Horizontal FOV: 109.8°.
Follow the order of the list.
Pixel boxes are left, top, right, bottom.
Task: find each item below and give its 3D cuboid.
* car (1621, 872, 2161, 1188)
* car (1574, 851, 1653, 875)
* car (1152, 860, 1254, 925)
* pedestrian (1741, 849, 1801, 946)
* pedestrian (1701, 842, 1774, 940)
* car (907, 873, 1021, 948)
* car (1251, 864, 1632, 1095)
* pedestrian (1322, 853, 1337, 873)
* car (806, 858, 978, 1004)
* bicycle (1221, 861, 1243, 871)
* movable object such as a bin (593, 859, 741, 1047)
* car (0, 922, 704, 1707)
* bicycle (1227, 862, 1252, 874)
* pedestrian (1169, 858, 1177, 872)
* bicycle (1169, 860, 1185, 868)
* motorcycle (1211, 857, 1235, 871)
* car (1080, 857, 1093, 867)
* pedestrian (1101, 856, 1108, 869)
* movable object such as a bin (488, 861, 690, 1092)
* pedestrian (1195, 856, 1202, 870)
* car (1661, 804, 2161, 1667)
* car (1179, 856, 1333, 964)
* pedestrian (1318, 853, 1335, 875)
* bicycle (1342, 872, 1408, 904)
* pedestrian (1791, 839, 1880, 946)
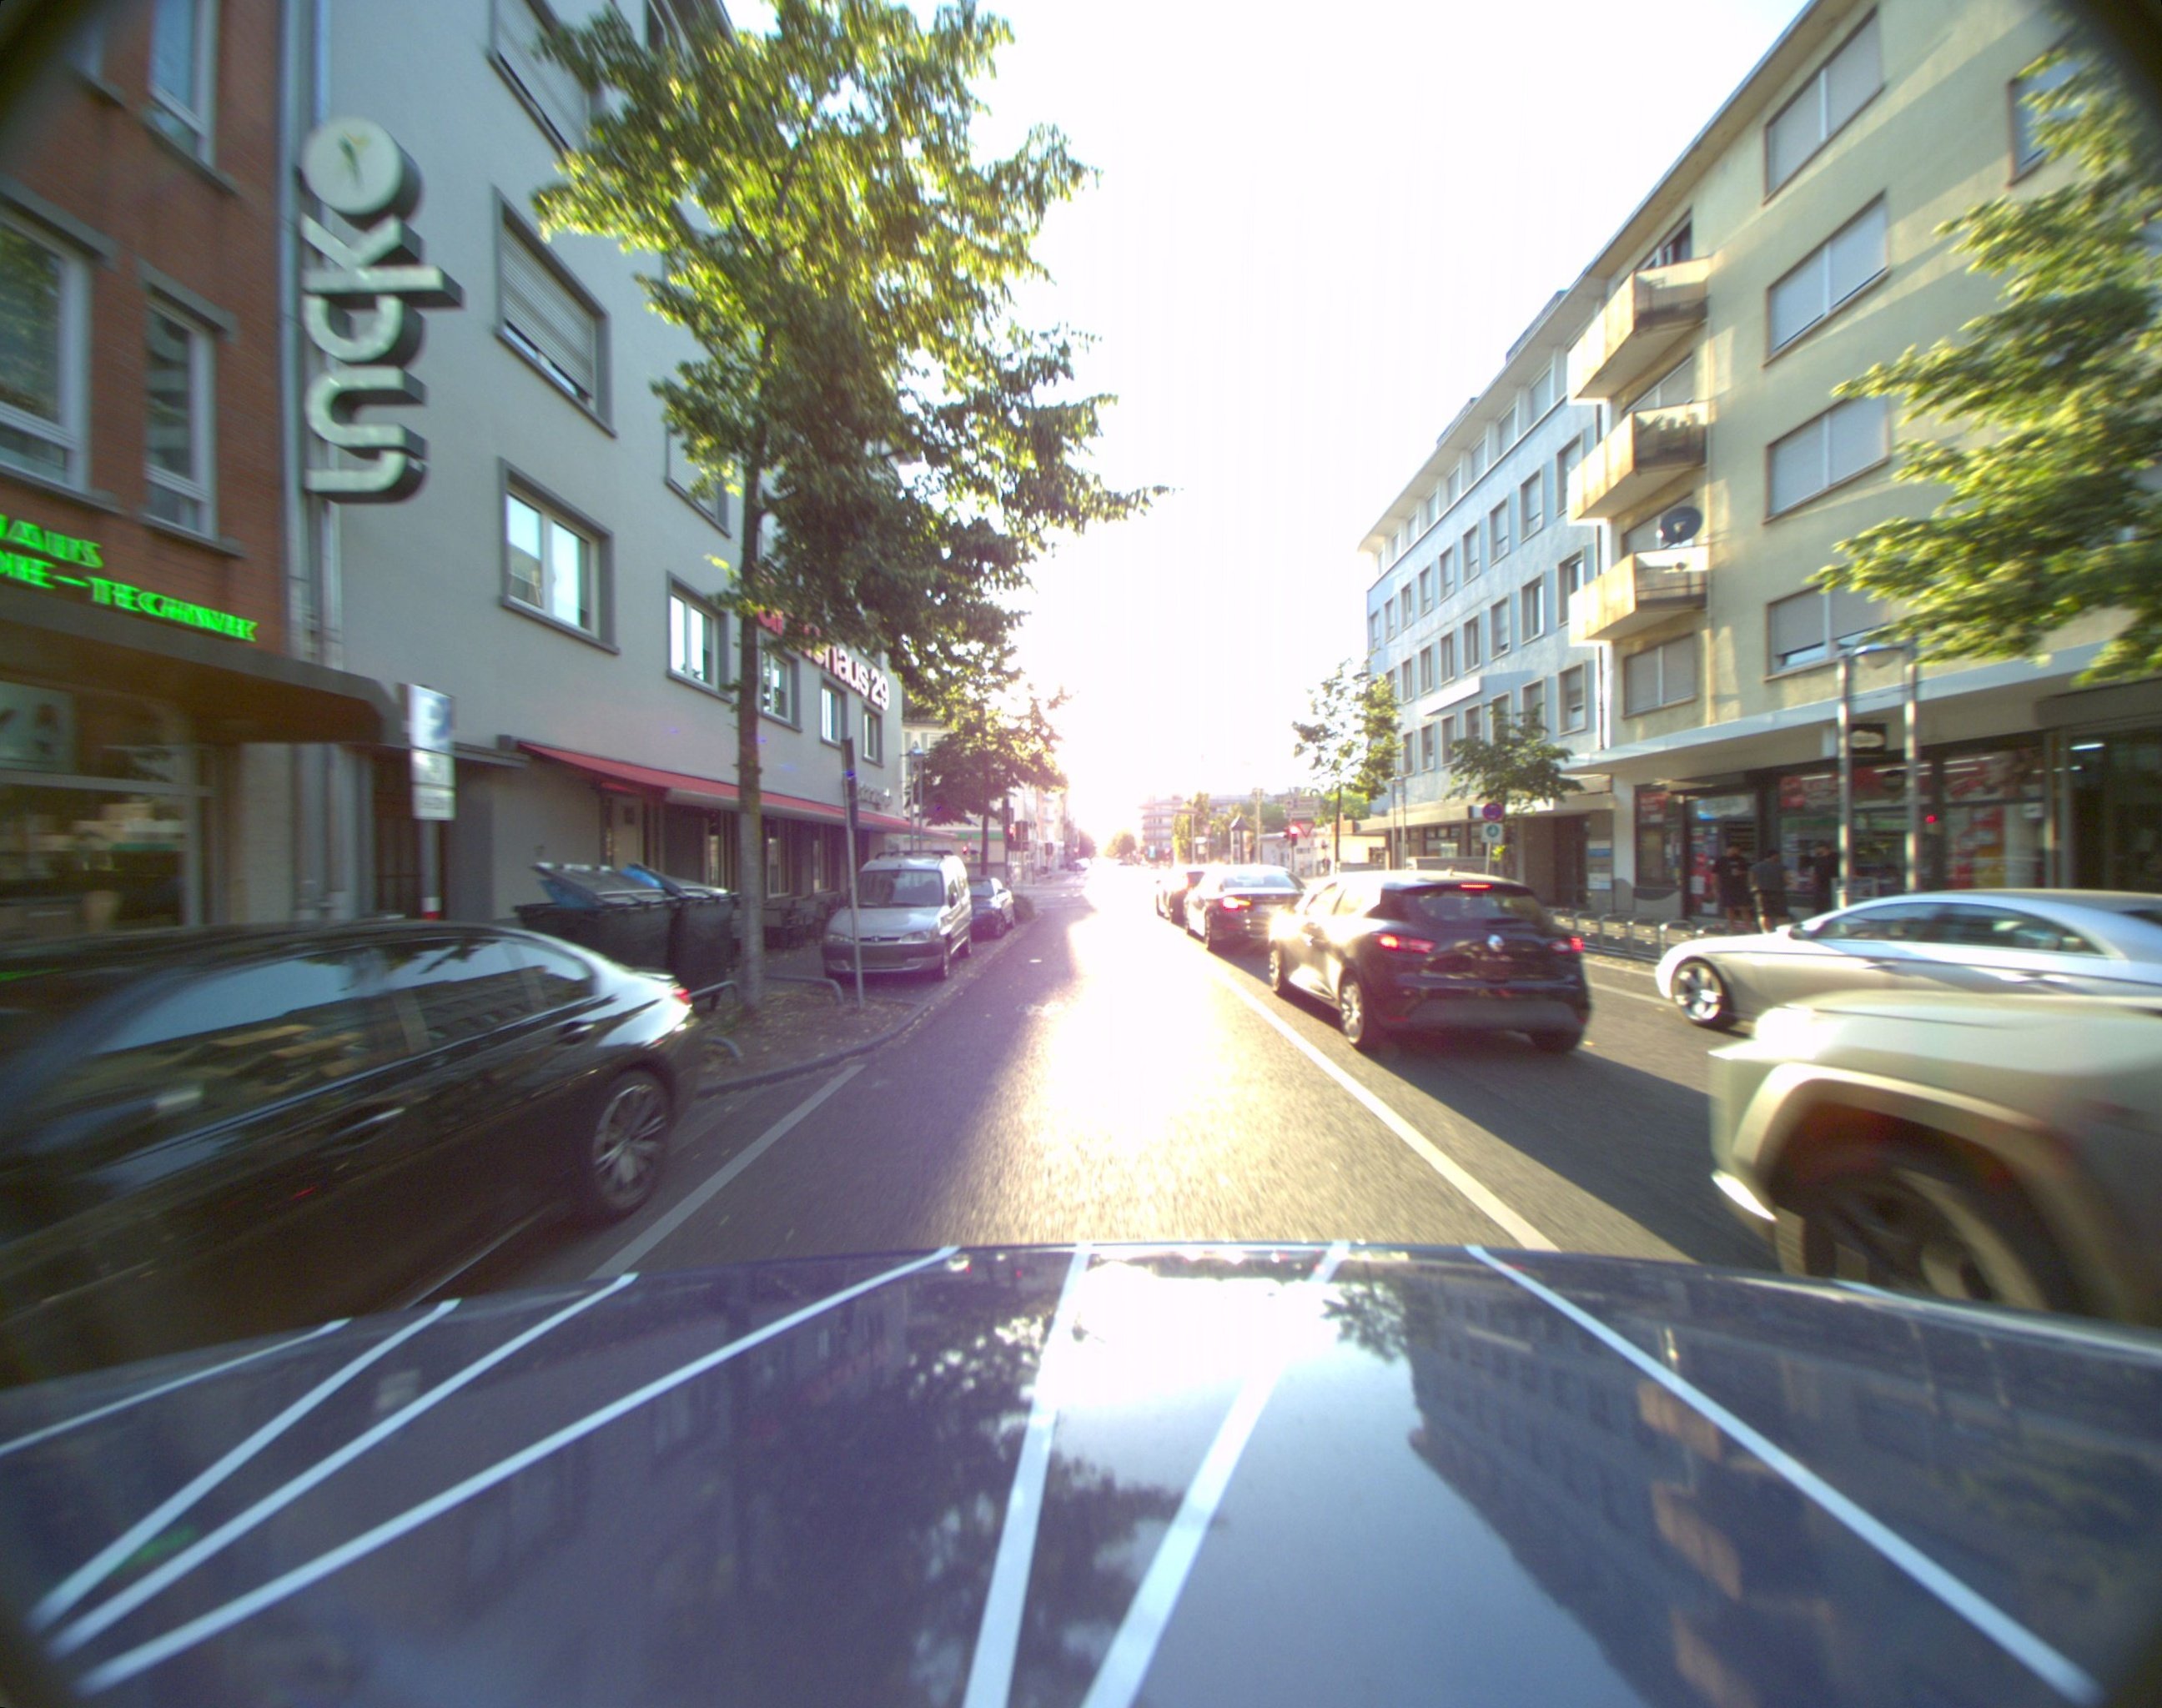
[{"bbox_3d":[6.661,0.987,5.720,1.998,1.503,4.509,2,1,1],"label":"car"},{"bbox_3d":[35.943,0.596,51.311,4.613,1.467,2.046,-1,-1,-19],"label":"car"},{"bbox_3d":[3.176,0.973,20.675,1.963,1.538,4.509,-1,-1,-1],"label":"car"},{"bbox_3d":[12.372,0.758,13.623,0.768,1.666,0.744,-1,1,44],"label":"pedestrian"},{"bbox_3d":[12.629,0.700,14.646,0.769,1.836,0.744,-1,-1,11],"label":"pedestrian"},{"bbox_3d":[-2.534,1.201,17.475,1.942,1.368,4.182,-2,0,0],"label":"car"},{"bbox_3d":[2.967,0.890,7.449,1.728,1.540,4.466,0,0,2],"label":"car"},{"bbox_3d":[20.910,0.733,63.919,0.781,1.666,0.904,-3,1,-33],"label":"pedestrian"},{"bbox_3d":[-2.648,0.991,11.566,1.659,1.768,4.011,-2,0,-2],"label":"car"},{"bbox_3d":[15.461,1.229,77.860,2.180,1.081,0.779,0,1,1],"label":"bicycle"},{"bbox_3d":[-4.270,0.962,7.953,0.837,1.763,1.205,-2,1,-2],"label":"movable object such as a bin"},{"bbox_3d":[-3.007,1.097,1.943,1.757,1.412,4.510,-2,0,1],"label":"car"},{"bbox_3d":[15.267,1.299,73.180,2.221,1.081,0.779,-1,1,-5],"label":"bicycle"},{"bbox_3d":[11.460,1.332,94.474,0.905,1.666,0.780,-2,1,13],"label":"pedestrian"},{"bbox_3d":[14.457,1.466,114.530,2.398,1.065,0.673,-2,1,8],"label":"bicycle"},{"bbox_3d":[15.133,1.096,81.222,2.450,1.358,0.780,-2,0,7],"label":"motorcycle"},{"bbox_3d":[1.010,1.368,137.569,1.998,1.638,4.509,-2,1,2],"label":"car"},{"bbox_3d":[3.239,1.151,103.080,0.842,1.736,0.701,-2,1,0],"label":"pedestrian"},{"bbox_3d":[-4.212,0.972,6.653,0.837,1.763,1.353,-2,1,-2],"label":"movable object such as a bin"},{"bbox_3d":[14.103,1.079,91.505,0.778,1.666,0.907,-2,1,9],"label":"pedestrian"},{"bbox_3d":[3.002,0.736,0.316,1.945,1.635,4.738,0,1,1],"label":"car"},{"bbox_3d":[3.059,0.893,14.292,1.951,1.635,4.615,0,1,2],"label":"car"},{"bbox_3d":[20.190,0.830,62.427,0.908,1.774,0.879,-3,1,-23],"label":"pedestrian"},{"bbox_3d":[9.771,1.124,25.286,2.015,0.986,0.491,-2,1,-3],"label":"bicycle"},{"bbox_3d":[13.158,0.662,13.274,0.742,1.808,0.814,0,0,3],"label":"pedestrian"}]
